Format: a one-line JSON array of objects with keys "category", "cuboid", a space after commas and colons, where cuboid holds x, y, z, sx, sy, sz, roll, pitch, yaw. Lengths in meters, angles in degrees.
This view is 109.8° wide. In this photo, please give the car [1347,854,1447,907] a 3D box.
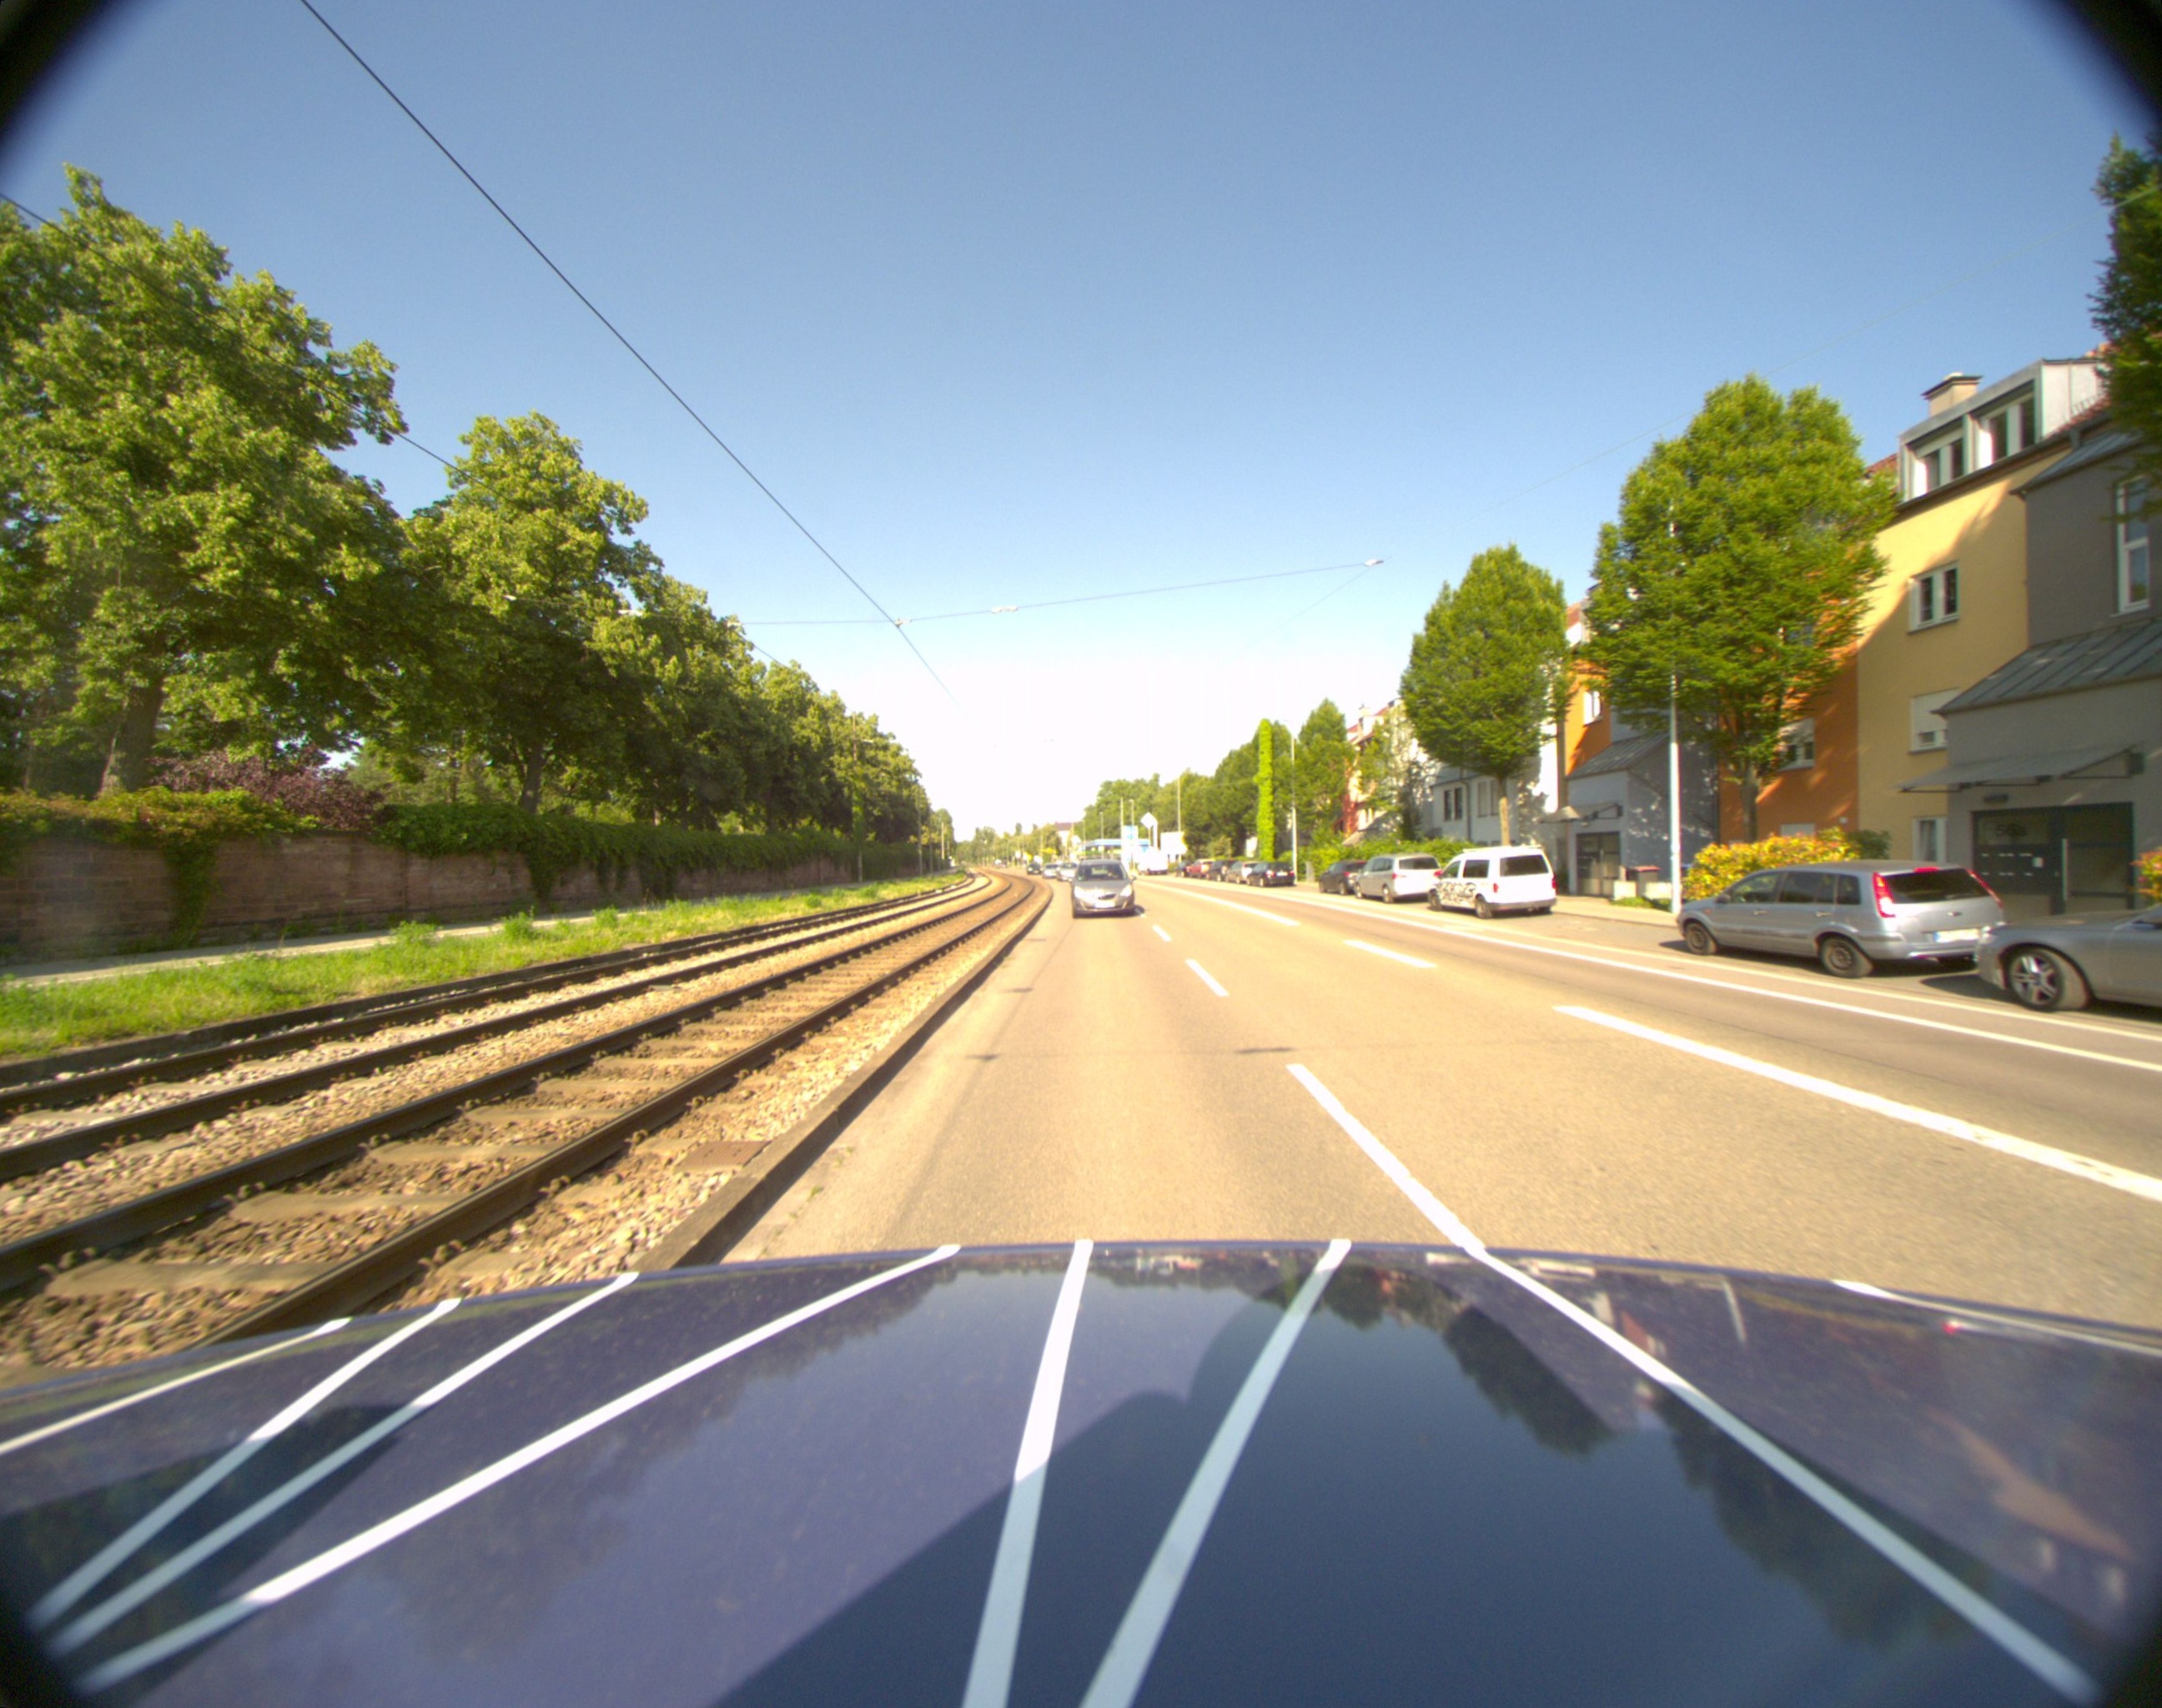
[{"category": "car", "cuboid": [11.410, 0.872, 27.782, 1.672, 1.691, 4.824, -3, 0, 1]}]

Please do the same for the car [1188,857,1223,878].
[{"category": "car", "cuboid": [10.057, 1.071, 61.678, 1.768, 1.565, 4.159, -1, 0, -6]}]

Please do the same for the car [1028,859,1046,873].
[{"category": "car", "cuboid": [-5.354, 1.465, 92.230, 1.711, 1.581, 3.996, -2, 0, -11]}]

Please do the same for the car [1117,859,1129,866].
[{"category": "car", "cuboid": [8.343, 1.655, 152.128, 1.742, 1.481, 4.272, -1, 0, -7]}]

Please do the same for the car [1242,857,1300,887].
[{"category": "car", "cuboid": [11.034, 1.018, 44.464, 1.871, 1.535, 4.908, -3, 0, -2]}]

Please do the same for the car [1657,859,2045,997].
[{"category": "car", "cuboid": [11.087, 0.935, 11.449, 1.767, 1.530, 3.981, -5, 0, 2]}]

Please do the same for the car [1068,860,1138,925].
[{"category": "car", "cuboid": [0.546, 0.997, 21.132, 1.730, 1.574, 3.763, -2, 0, 0]}]

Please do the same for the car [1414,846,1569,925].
[{"category": "car", "cuboid": [11.446, 0.804, 21.617, 1.767, 1.835, 4.580, -6, 0, 0]}]

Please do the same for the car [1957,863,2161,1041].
[{"category": "car", "cuboid": [10.940, 0.915, 6.281, 1.753, 1.502, 4.755, -5, 0, -1]}]

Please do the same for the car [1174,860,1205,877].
[{"category": "car", "cuboid": [9.516, 1.227, 66.987, 1.657, 1.416, 4.710, -1, 0, -6]}]

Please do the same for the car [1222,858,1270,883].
[{"category": "car", "cuboid": [10.893, 1.058, 50.456, 1.717, 1.463, 4.842, -3, 1, -4]}]

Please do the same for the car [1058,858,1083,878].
[{"category": "car", "cuboid": [-0.820, 1.066, 59.491, 1.710, 1.487, 3.999, -2, 0, -4]}]

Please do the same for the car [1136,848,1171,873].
[{"category": "car", "cuboid": [7.745, 0.687, 81.839, 2.159, 2.443, 6.179, -3, 0, -8]}]

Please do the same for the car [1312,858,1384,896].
[{"category": "car", "cuboid": [11.565, 0.948, 33.232, 1.620, 1.457, 4.057, -3, 0, -1]}]

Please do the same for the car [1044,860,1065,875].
[{"category": "car", "cuboid": [-2.535, 1.257, 71.968, 1.579, 1.306, 3.998, -2, 0, -7]}]

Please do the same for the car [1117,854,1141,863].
[{"category": "car", "cuboid": [10.656, 1.014, 169.581, 5.085, 1.929, 1.857, -1, 0, -4]}]

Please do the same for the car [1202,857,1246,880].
[{"category": "car", "cuboid": [10.443, 1.012, 55.803, 1.768, 1.564, 4.433, -2, 0, -9]}]
